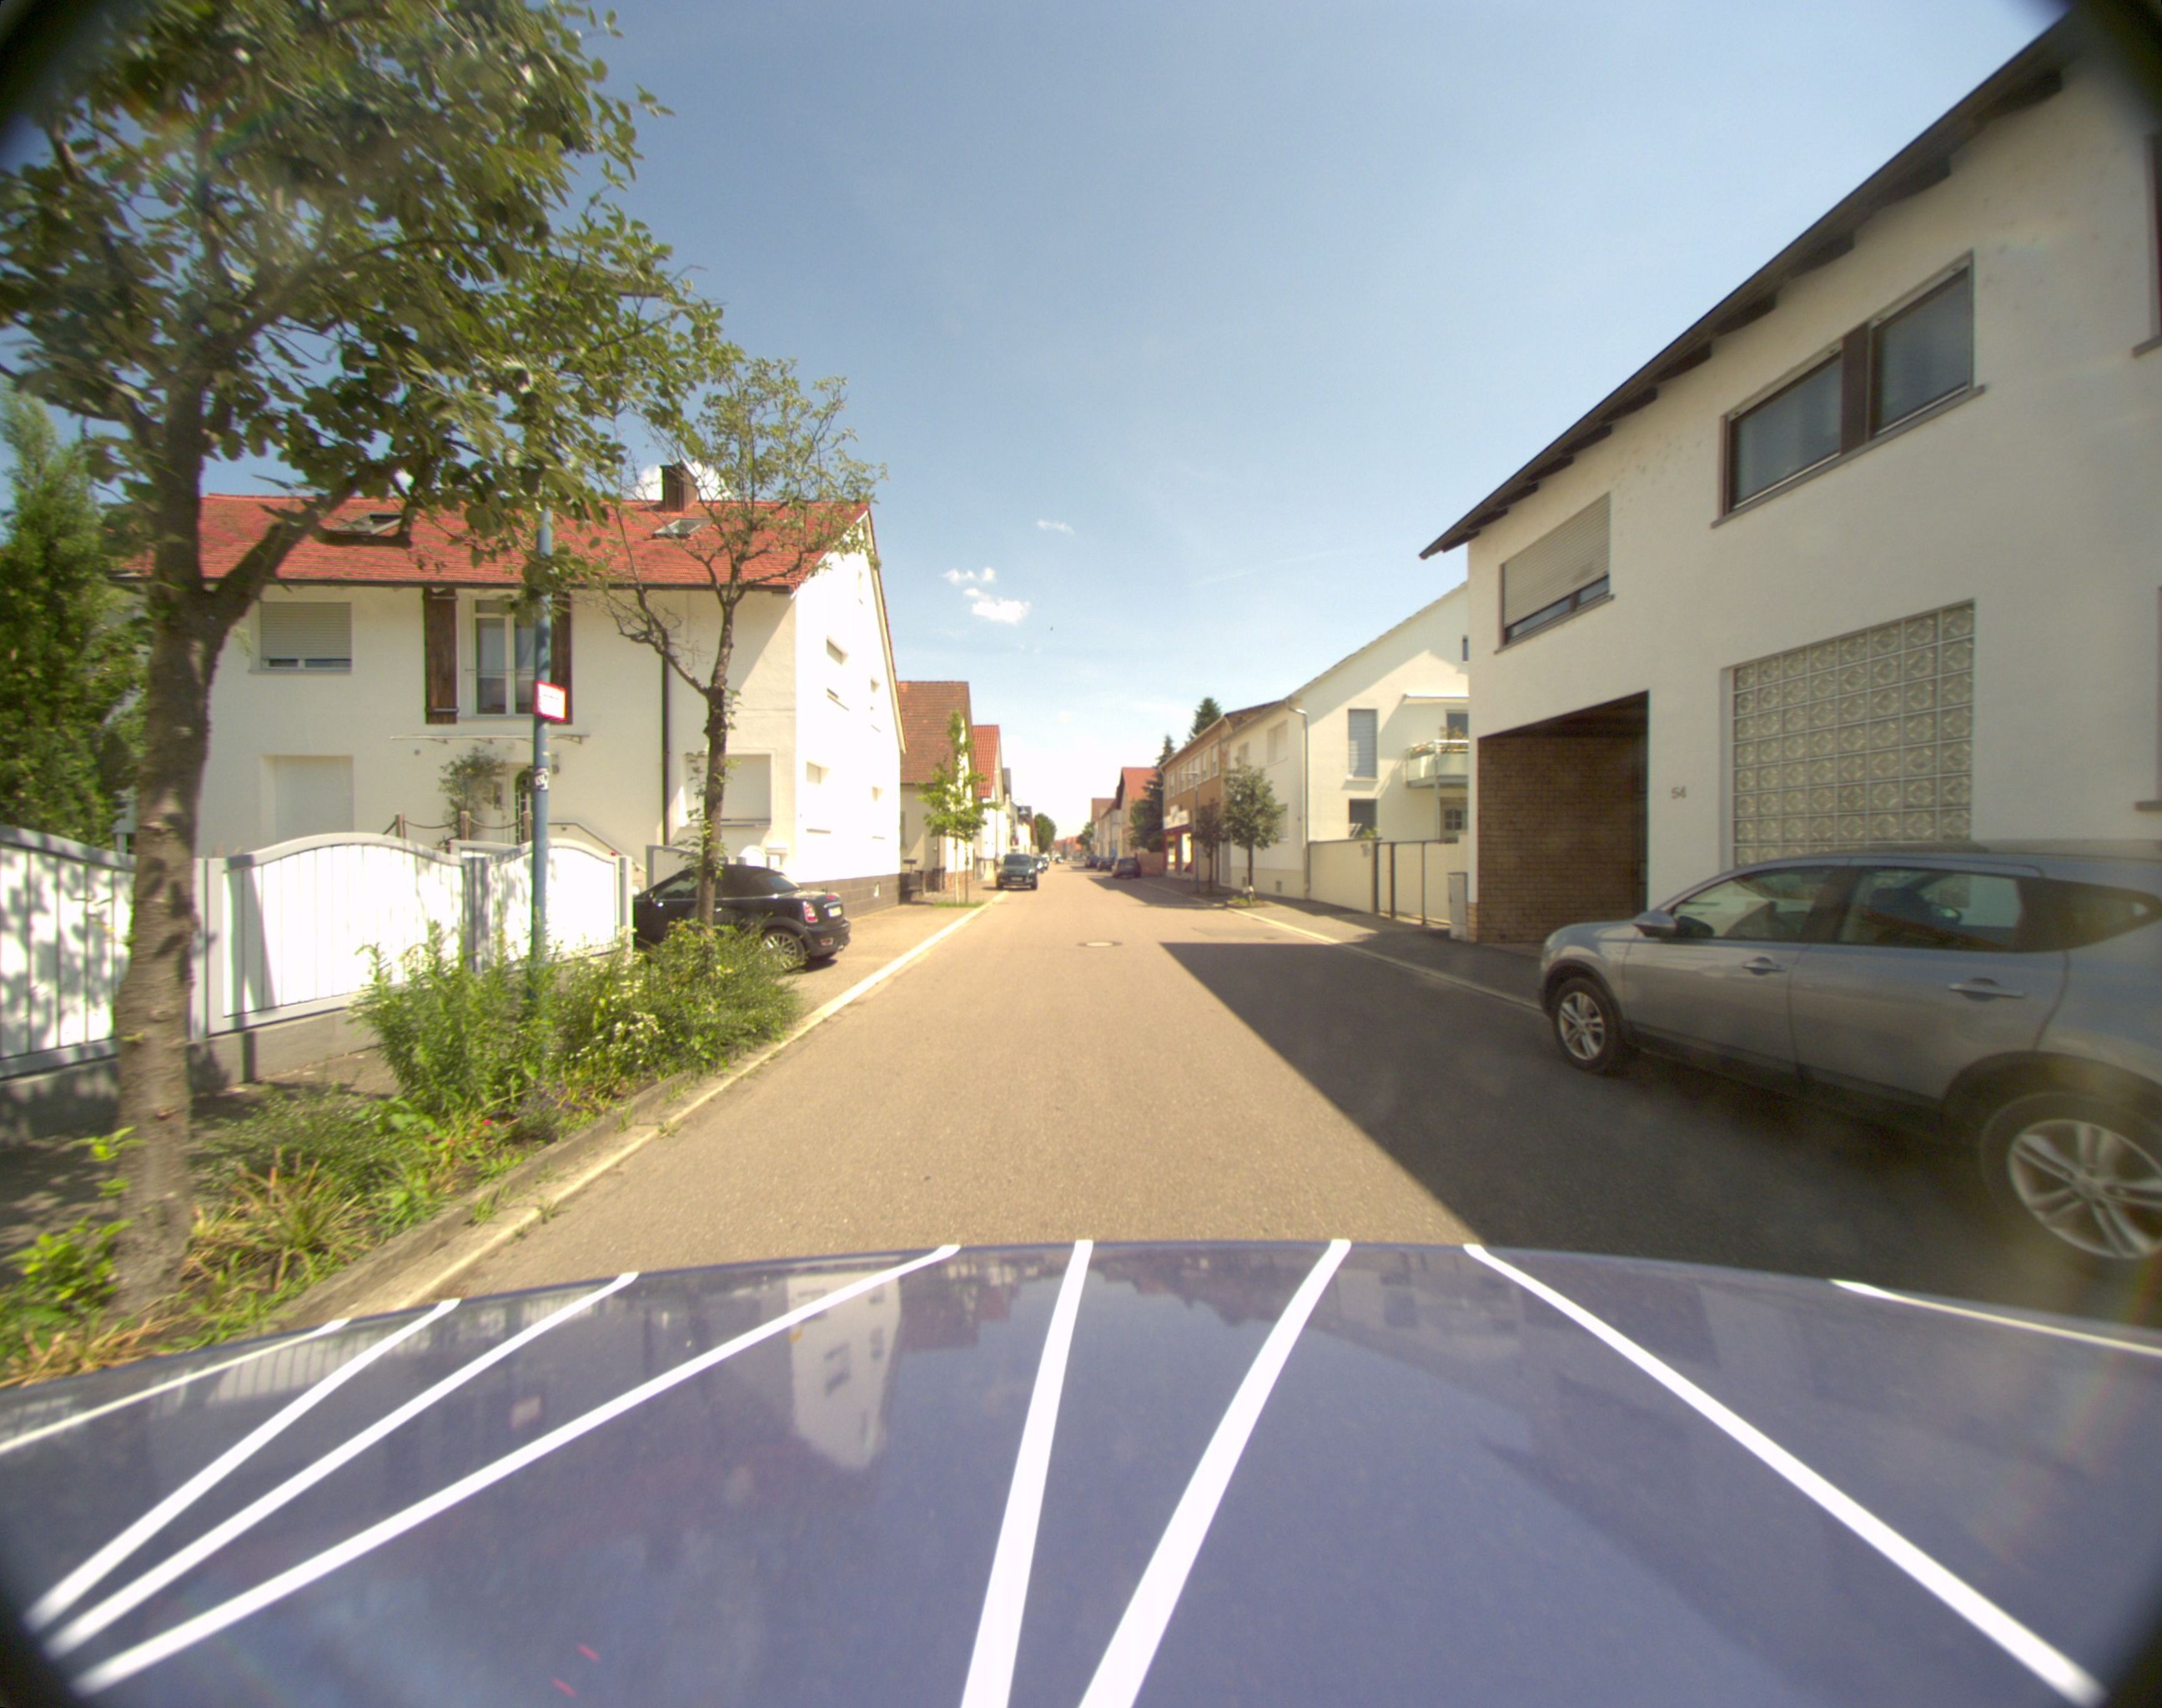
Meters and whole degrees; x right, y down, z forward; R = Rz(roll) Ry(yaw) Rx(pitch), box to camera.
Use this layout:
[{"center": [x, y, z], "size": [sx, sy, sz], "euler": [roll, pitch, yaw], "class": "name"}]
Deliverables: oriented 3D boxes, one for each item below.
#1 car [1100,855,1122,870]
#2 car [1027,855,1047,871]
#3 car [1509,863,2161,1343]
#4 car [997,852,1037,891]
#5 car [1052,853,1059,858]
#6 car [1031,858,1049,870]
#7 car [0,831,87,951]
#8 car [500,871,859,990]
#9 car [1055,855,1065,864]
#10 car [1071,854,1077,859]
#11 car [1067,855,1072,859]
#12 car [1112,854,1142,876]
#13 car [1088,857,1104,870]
[{"center": [2.906, 0.789, 74.405], "size": [1.766, 1.366, 4.065], "euler": [-2, 0, -2], "class": "car"}, {"center": [-3.907, 0.785, 67.938], "size": [1.693, 1.414, 3.656], "euler": [0, 0, -2], "class": "car"}, {"center": [4.387, 0.845, 3.970], "size": [1.763, 1.516, 4.288], "euler": [0, 0, -2], "class": "car"}, {"center": [-2.931, 0.751, 35.570], "size": [1.733, 1.707, 4.274], "euler": [-1, 0, -4], "class": "car"}, {"center": [-7.273, 0.453, 214.380], "size": [1.848, 1.385, 4.168], "euler": [-1, -2, -4], "class": "car"}, {"center": [-4.584, 1.141, 85.040], "size": [1.820, 1.268, 4.146], "euler": [-1, 0, -1], "class": "car"}, {"center": [-17.222, 0.532, 10.687], "size": [3.932, 1.694, 1.884], "euler": [0, 0, -1], "class": "car"}, {"center": [-5.243, 0.973, 10.329], "size": [3.932, 1.407, 1.740], "euler": [0, 0, -1], "class": "car"}, {"center": [-4.027, 1.012, 144.907], "size": [1.598, 1.533, 4.200], "euler": [-2, 1, 1], "class": "car"}, {"center": [-1.978, 0.727, 228.611], "size": [1.727, 1.385, 4.170], "euler": [-1, -2, 0], "class": "car"}, {"center": [-3.757, 0.961, 246.927], "size": [1.598, 1.385, 4.167], "euler": [-2, 0, -2], "class": "car"}, {"center": [3.189, 0.768, 53.376], "size": [1.772, 1.451, 4.436], "euler": [-1, 0, 0], "class": "car"}, {"center": [1.827, 1.123, 92.323], "size": [1.702, 1.403, 4.389], "euler": [-1, 0, -1], "class": "car"}]
